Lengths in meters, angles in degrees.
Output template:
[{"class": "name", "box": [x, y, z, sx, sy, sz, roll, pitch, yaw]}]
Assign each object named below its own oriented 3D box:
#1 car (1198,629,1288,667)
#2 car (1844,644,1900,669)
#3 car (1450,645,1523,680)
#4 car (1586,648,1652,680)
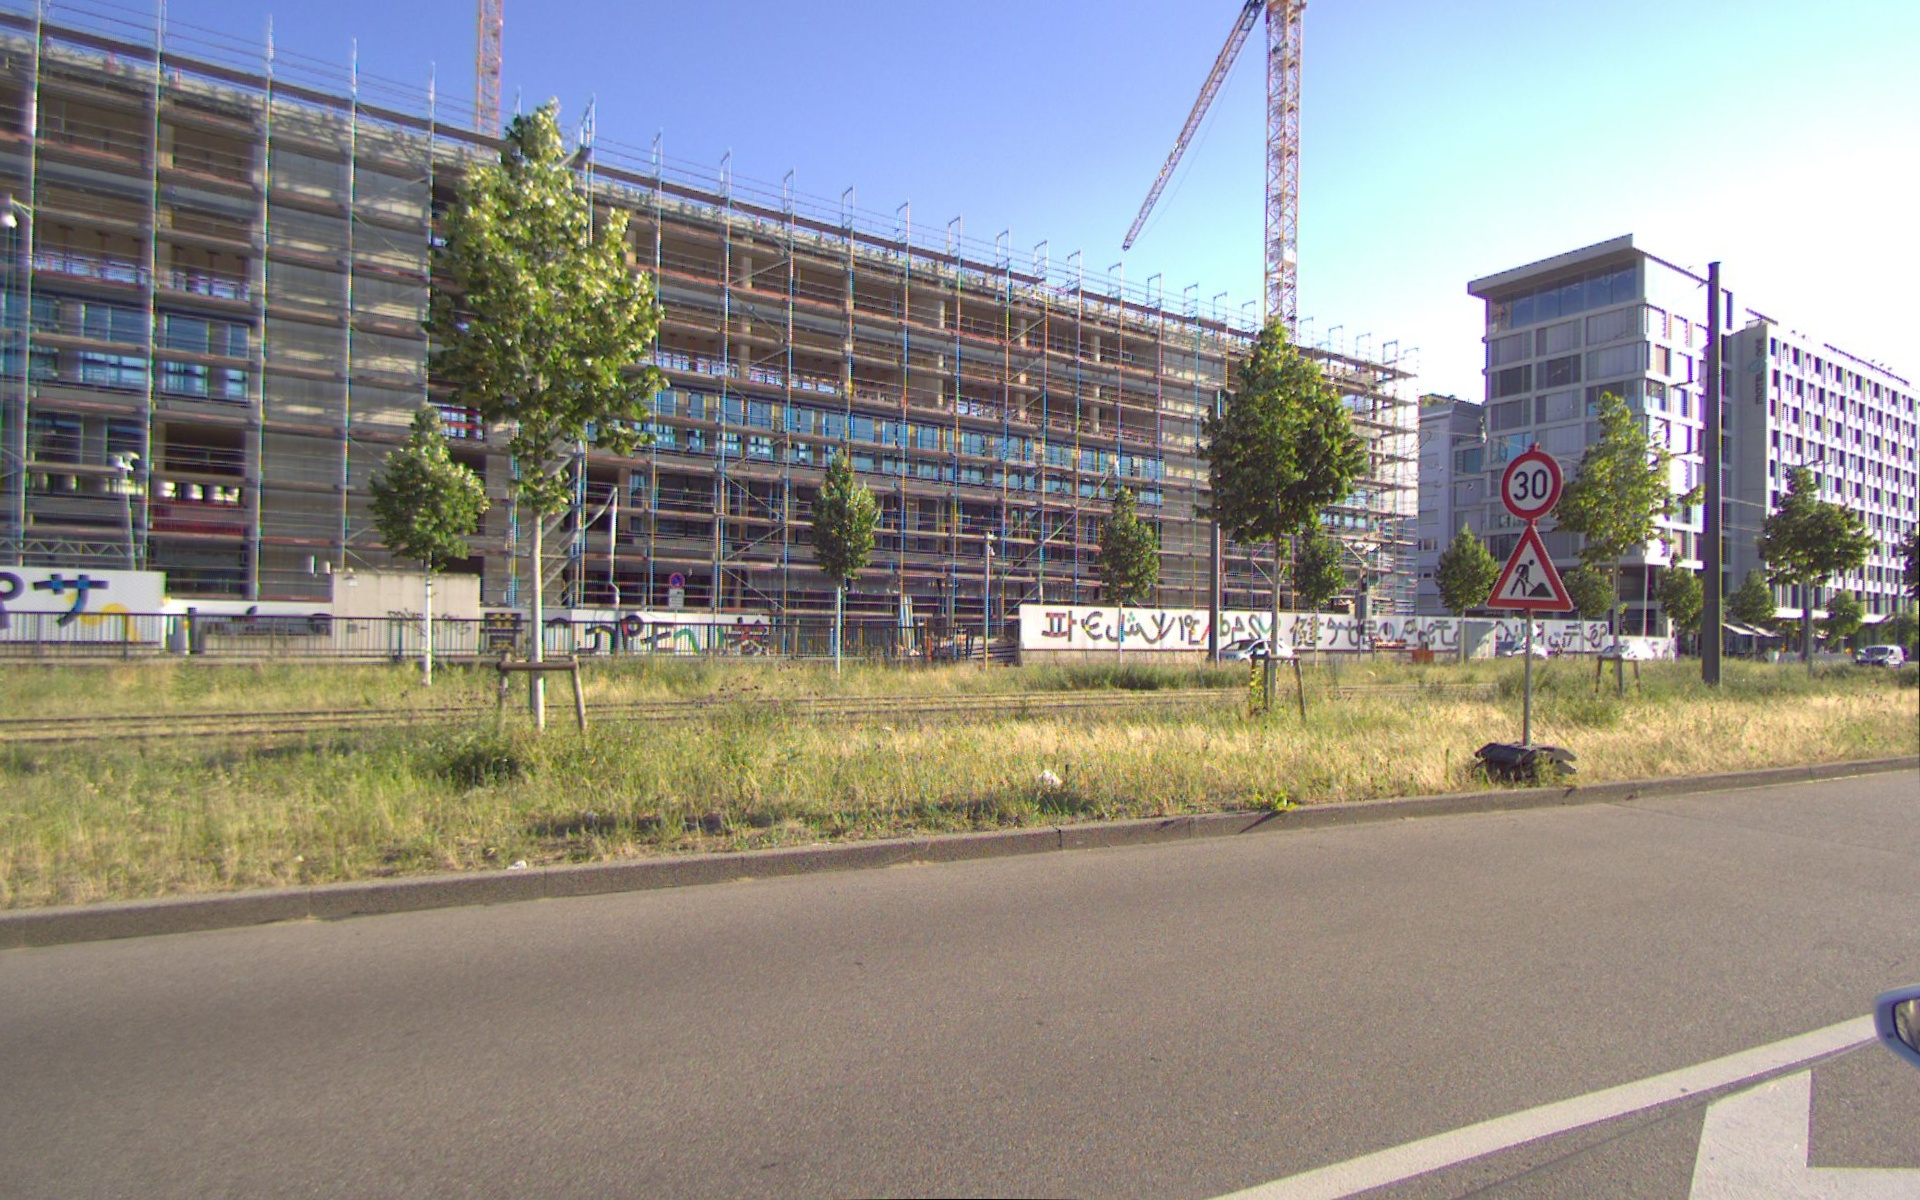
[{"class": "car", "box": [11.949, 2.018, 42.330, 3.543, 1.461, 1.699, 2, -1, -32]}, {"class": "car", "box": [64.811, 4.020, 71.385, 3.592, 1.706, 1.783, 2, 0, -27]}, {"class": "car", "box": [27.705, 3.280, 52.889, 3.597, 1.706, 1.781, 2, 0, -31]}, {"class": "car", "box": [38.364, 3.708, 58.469, 3.597, 1.706, 1.781, 2, 0, -31]}]
